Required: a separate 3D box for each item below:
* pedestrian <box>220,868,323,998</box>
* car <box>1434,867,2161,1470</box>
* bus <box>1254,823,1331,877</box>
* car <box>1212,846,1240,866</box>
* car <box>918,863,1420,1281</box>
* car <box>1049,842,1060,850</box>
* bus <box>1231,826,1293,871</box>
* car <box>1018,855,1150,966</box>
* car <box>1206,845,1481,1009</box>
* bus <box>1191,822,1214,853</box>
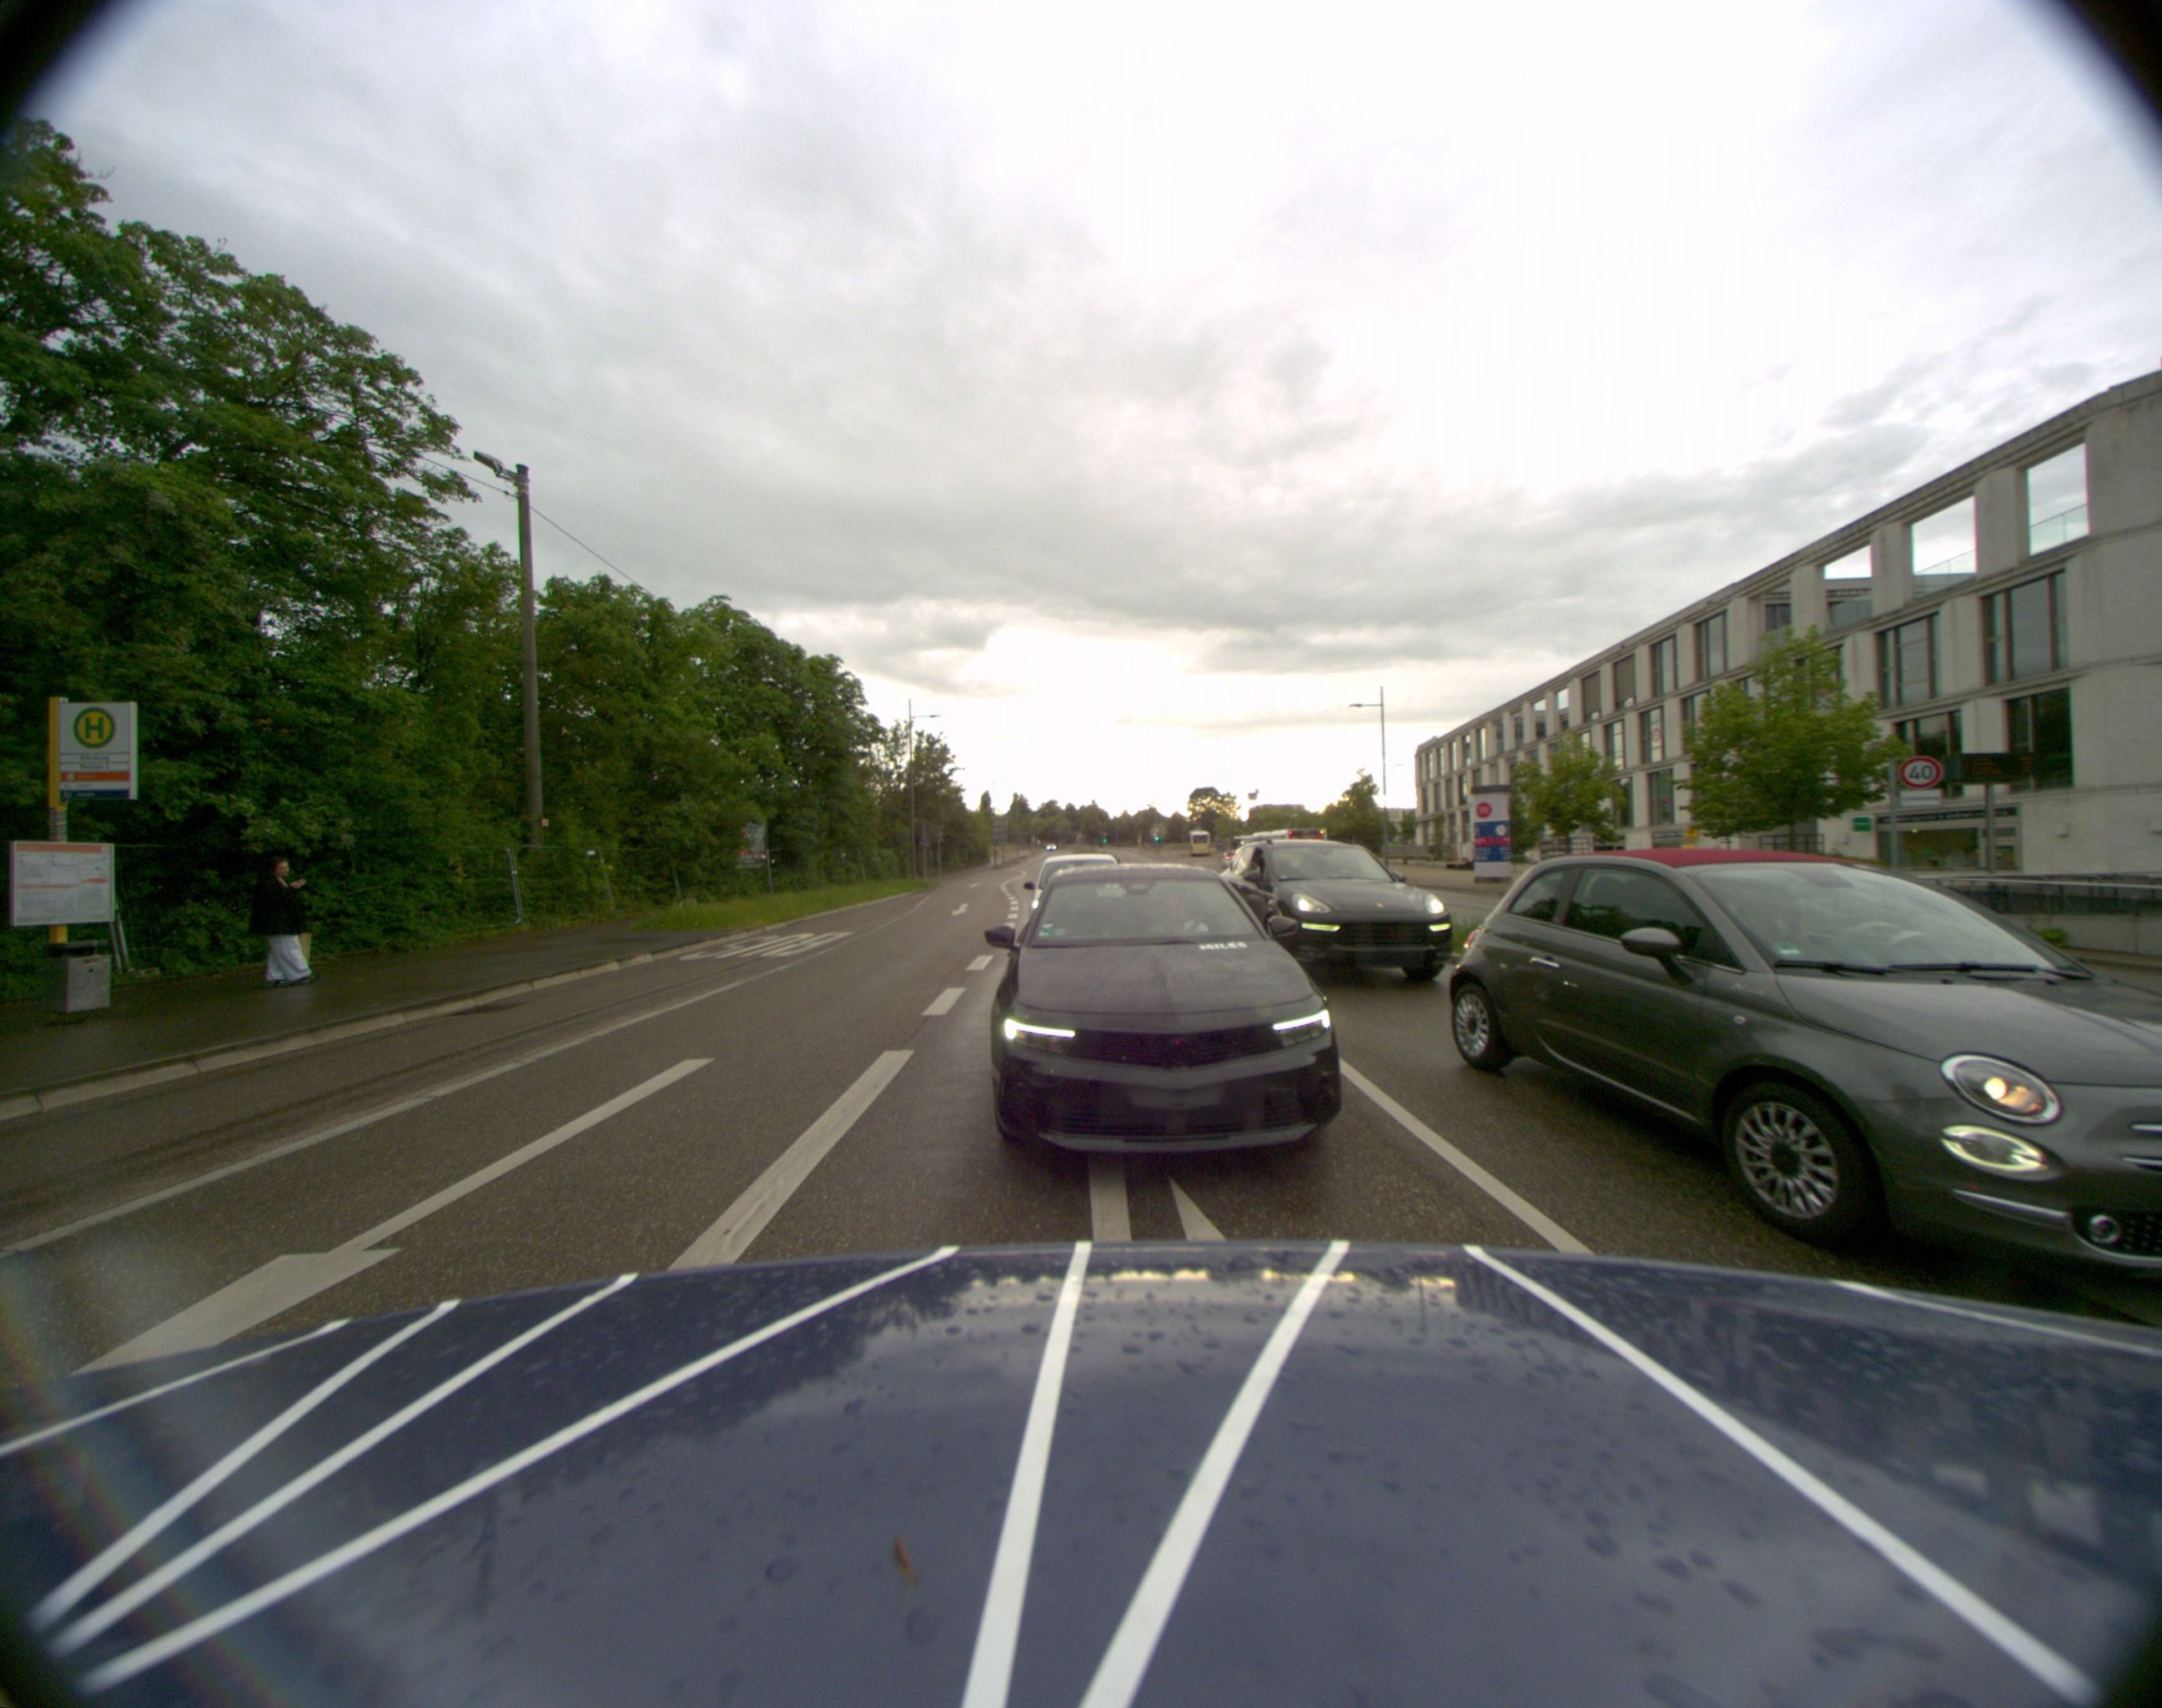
[{"bbox_3d":[-10.574,1.010,9.943,0.588,1.618,0.661,-1,1,1],"label":"pedestrian"},{"bbox_3d":[3.426,0.859,3.765,1.631,1.473,3.505,-1,1,-2],"label":"car"},{"bbox_3d":[13.817,-0.308,50.530,2.759,3.194,9.207,-2,1,2],"label":"bus"},{"bbox_3d":[13.571,0.167,71.389,1.867,1.777,3.999,-2,1,1],"label":"car"},{"bbox_3d":[0.376,0.885,5.338,1.901,1.456,4.767,-2,1,1],"label":"car"},{"bbox_3d":[-6.092,-1.874,175.824,2.000,1.805,3.996,-2,1,-10],"label":"car"},{"bbox_3d":[14.107,-0.446,60.035,2.693,3.163,9.912,-2,1,2],"label":"bus"},{"bbox_3d":[0.112,0.846,13.641,1.901,1.524,4.768,-2,1,2],"label":"car"},{"bbox_3d":[3.086,0.728,10.113,1.934,1.649,4.617,-1,0,-2],"label":"car"},{"bbox_3d":[18.443,-2.420,114.308,2.757,4.129,19.359,-2,1,11],"label":"bus"}]
